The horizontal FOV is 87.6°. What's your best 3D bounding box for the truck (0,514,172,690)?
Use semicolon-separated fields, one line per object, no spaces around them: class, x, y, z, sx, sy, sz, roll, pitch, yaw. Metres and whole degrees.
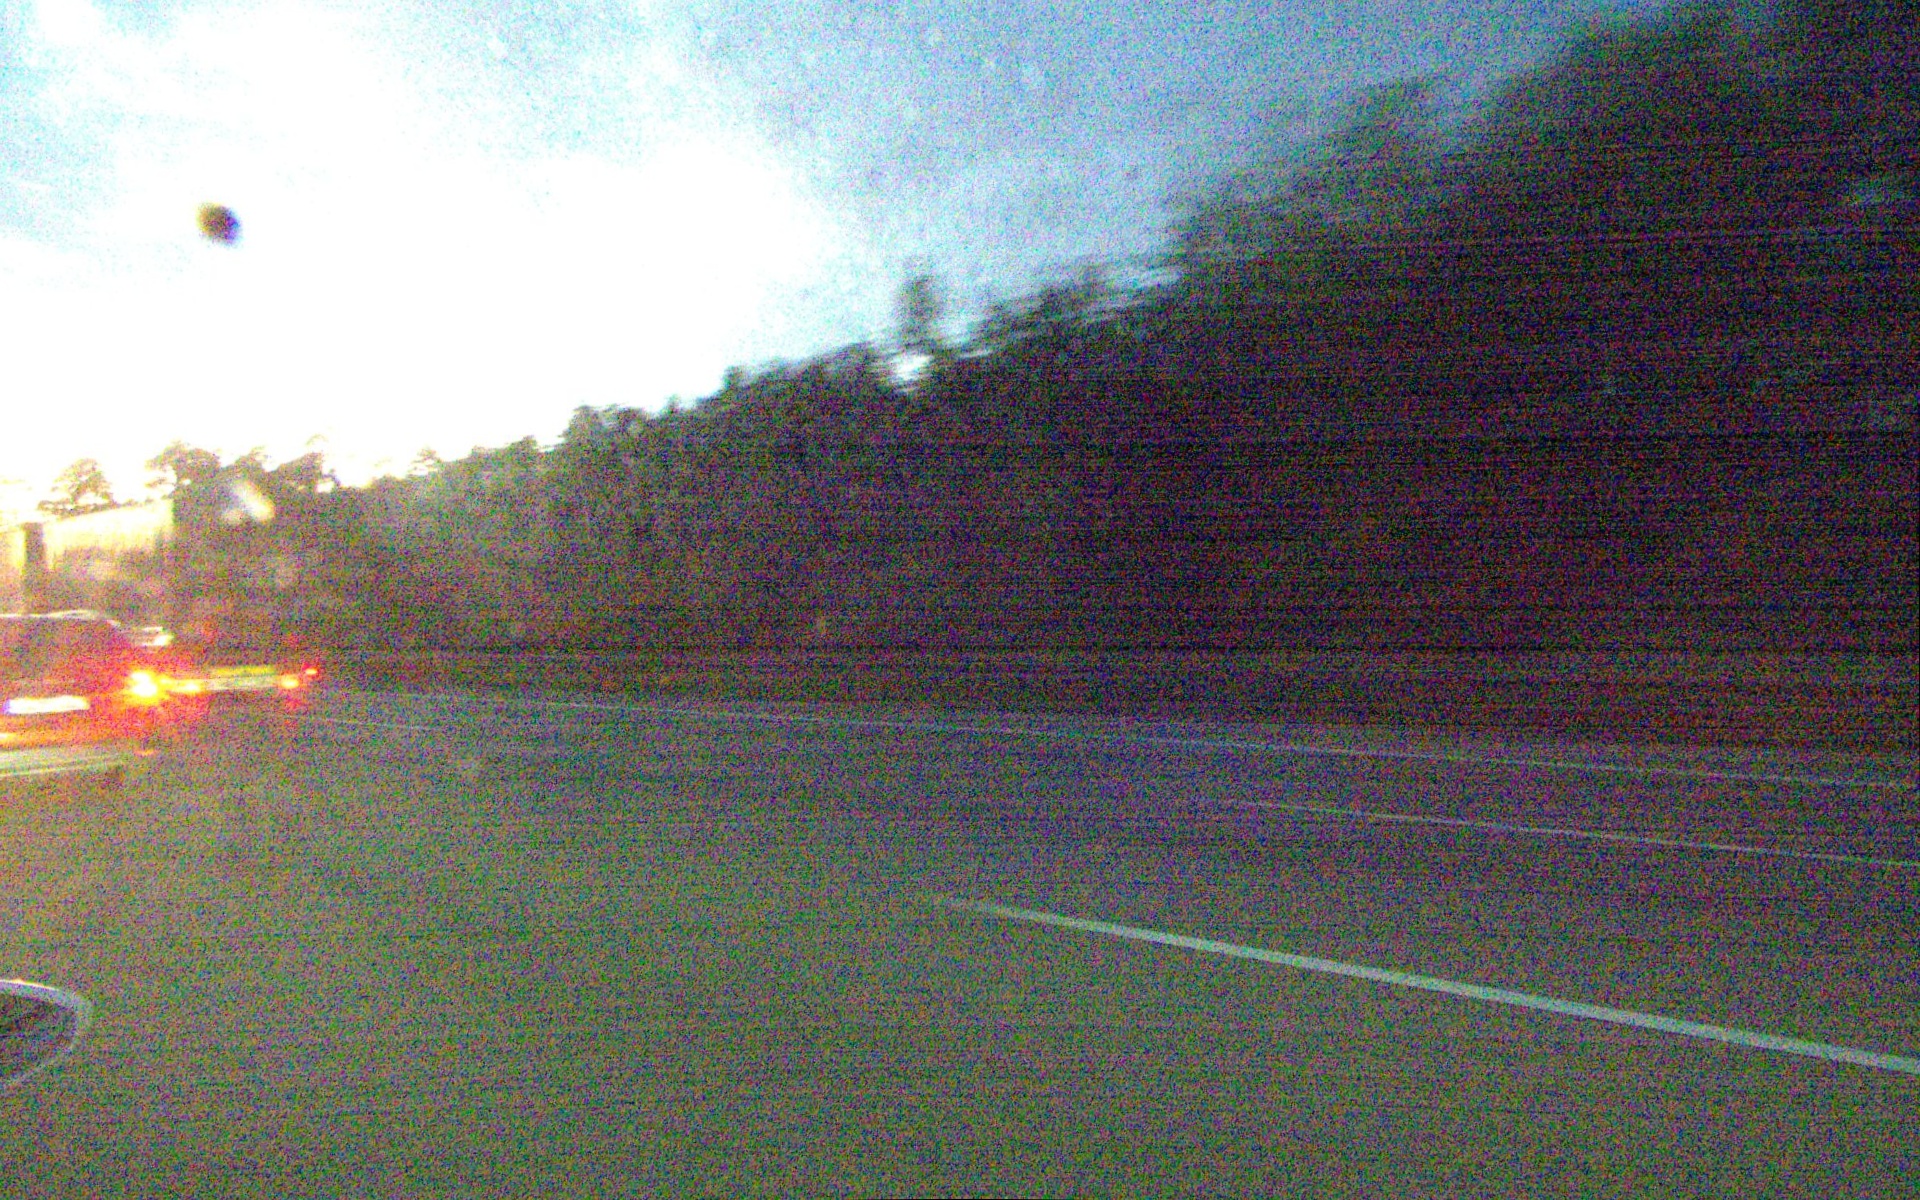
truck;-25.757;0.195;27.923;10.684;4.153;2.878;-1;-1;34

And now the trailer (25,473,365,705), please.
trailer;-17.095;-0.056;22.003;10.216;4.153;2.900;-1;-1;34

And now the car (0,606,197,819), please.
car;-9.378;0.904;9.485;4.981;1.665;1.899;0;-1;33
